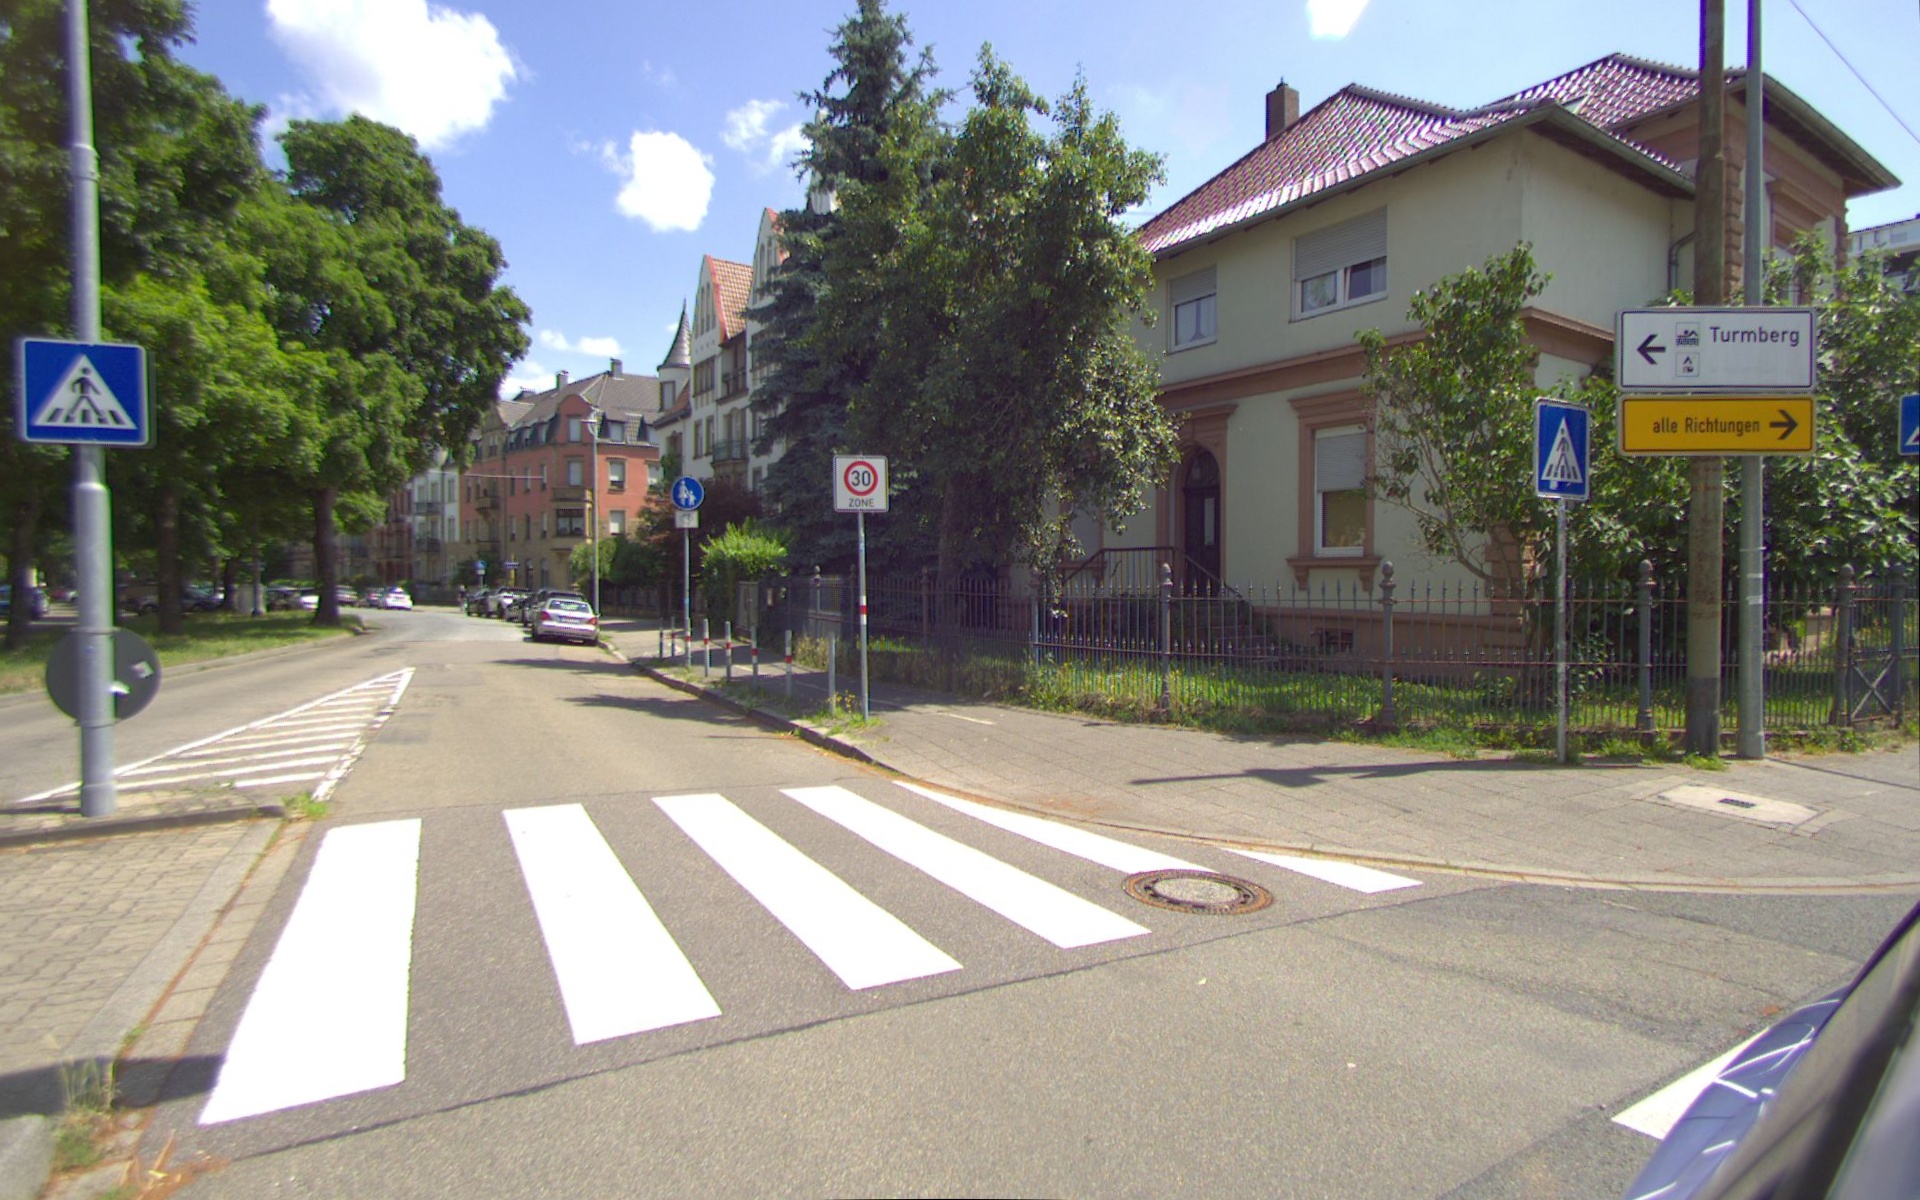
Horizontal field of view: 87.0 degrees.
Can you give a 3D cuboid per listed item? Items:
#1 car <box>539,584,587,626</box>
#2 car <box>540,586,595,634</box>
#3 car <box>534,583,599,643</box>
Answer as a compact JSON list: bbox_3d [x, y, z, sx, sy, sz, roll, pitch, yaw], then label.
[{"bbox_3d":[-15.203,0.193,38.664,1.574,1.458,3.736,-2,0,-23],"label":"car"},{"bbox_3d":[-13.236,0.335,34.017,1.574,1.458,3.736,-2,0,-23],"label":"car"},{"bbox_3d":[-11.507,0.373,29.470,1.573,1.572,3.736,4,-2,-23],"label":"car"}]
